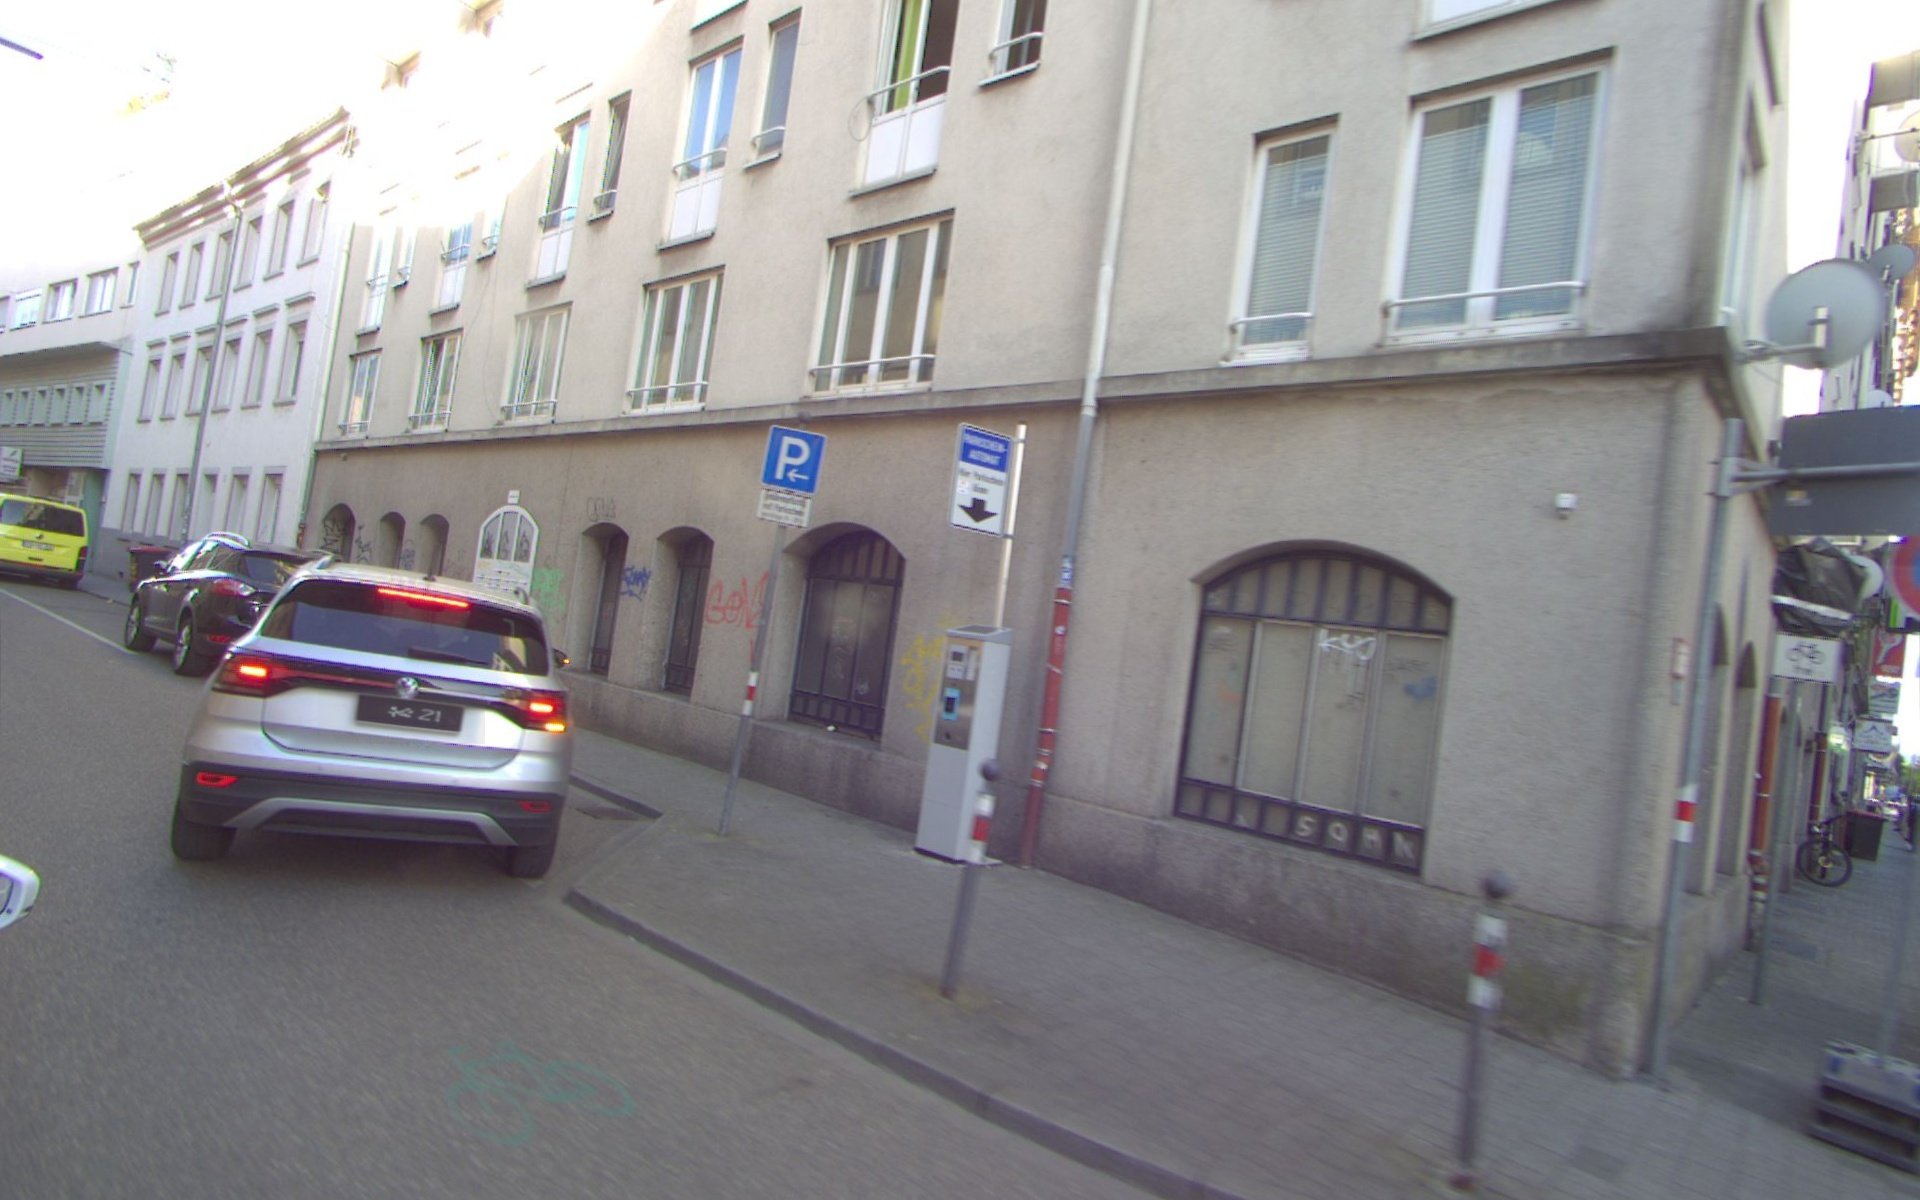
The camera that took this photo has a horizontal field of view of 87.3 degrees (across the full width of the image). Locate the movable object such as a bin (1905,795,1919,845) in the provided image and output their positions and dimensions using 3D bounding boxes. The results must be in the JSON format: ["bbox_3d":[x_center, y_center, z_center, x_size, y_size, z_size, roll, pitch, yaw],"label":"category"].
[{"bbox_3d":[29.458,6.732,30.457,1.990,1.406,1.040,11,-3,-44],"label":"movable object such as a bin"}]

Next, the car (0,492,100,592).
[{"bbox_3d":[-21.986,-1.455,23.365,4.772,1.902,1.886,6,-3,37],"label":"car"}]

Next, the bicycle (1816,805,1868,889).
[{"bbox_3d":[13.996,3.891,15.986,0.425,1.156,1.587,6,-3,38],"label":"bicycle"}]

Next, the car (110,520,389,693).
[{"bbox_3d":[-9.358,0.012,13.101,4.431,1.672,1.825,6,-4,42],"label":"car"}]

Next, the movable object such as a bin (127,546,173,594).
[{"bbox_3d":[-19.191,-0.713,23.842,0.697,1.065,0.626,6,2,32],"label":"movable object such as a bin"}]

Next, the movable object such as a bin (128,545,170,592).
[{"bbox_3d":[-19.714,-0.757,24.452,0.697,1.065,0.605,6,3,36],"label":"movable object such as a bin"}]

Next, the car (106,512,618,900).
[{"bbox_3d":[-3.519,0.528,6.340,1.811,1.576,3.961,10,-3,-27],"label":"car"}]

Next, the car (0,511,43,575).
[{"bbox_3d":[-26.222,-1.726,26.600,4.299,1.505,1.887,6,-4,35],"label":"car"}]

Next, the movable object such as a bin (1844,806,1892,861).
[{"bbox_3d":[20.890,5.358,23.155,0.680,1.087,0.448,9,0,42],"label":"movable object such as a bin"}]
